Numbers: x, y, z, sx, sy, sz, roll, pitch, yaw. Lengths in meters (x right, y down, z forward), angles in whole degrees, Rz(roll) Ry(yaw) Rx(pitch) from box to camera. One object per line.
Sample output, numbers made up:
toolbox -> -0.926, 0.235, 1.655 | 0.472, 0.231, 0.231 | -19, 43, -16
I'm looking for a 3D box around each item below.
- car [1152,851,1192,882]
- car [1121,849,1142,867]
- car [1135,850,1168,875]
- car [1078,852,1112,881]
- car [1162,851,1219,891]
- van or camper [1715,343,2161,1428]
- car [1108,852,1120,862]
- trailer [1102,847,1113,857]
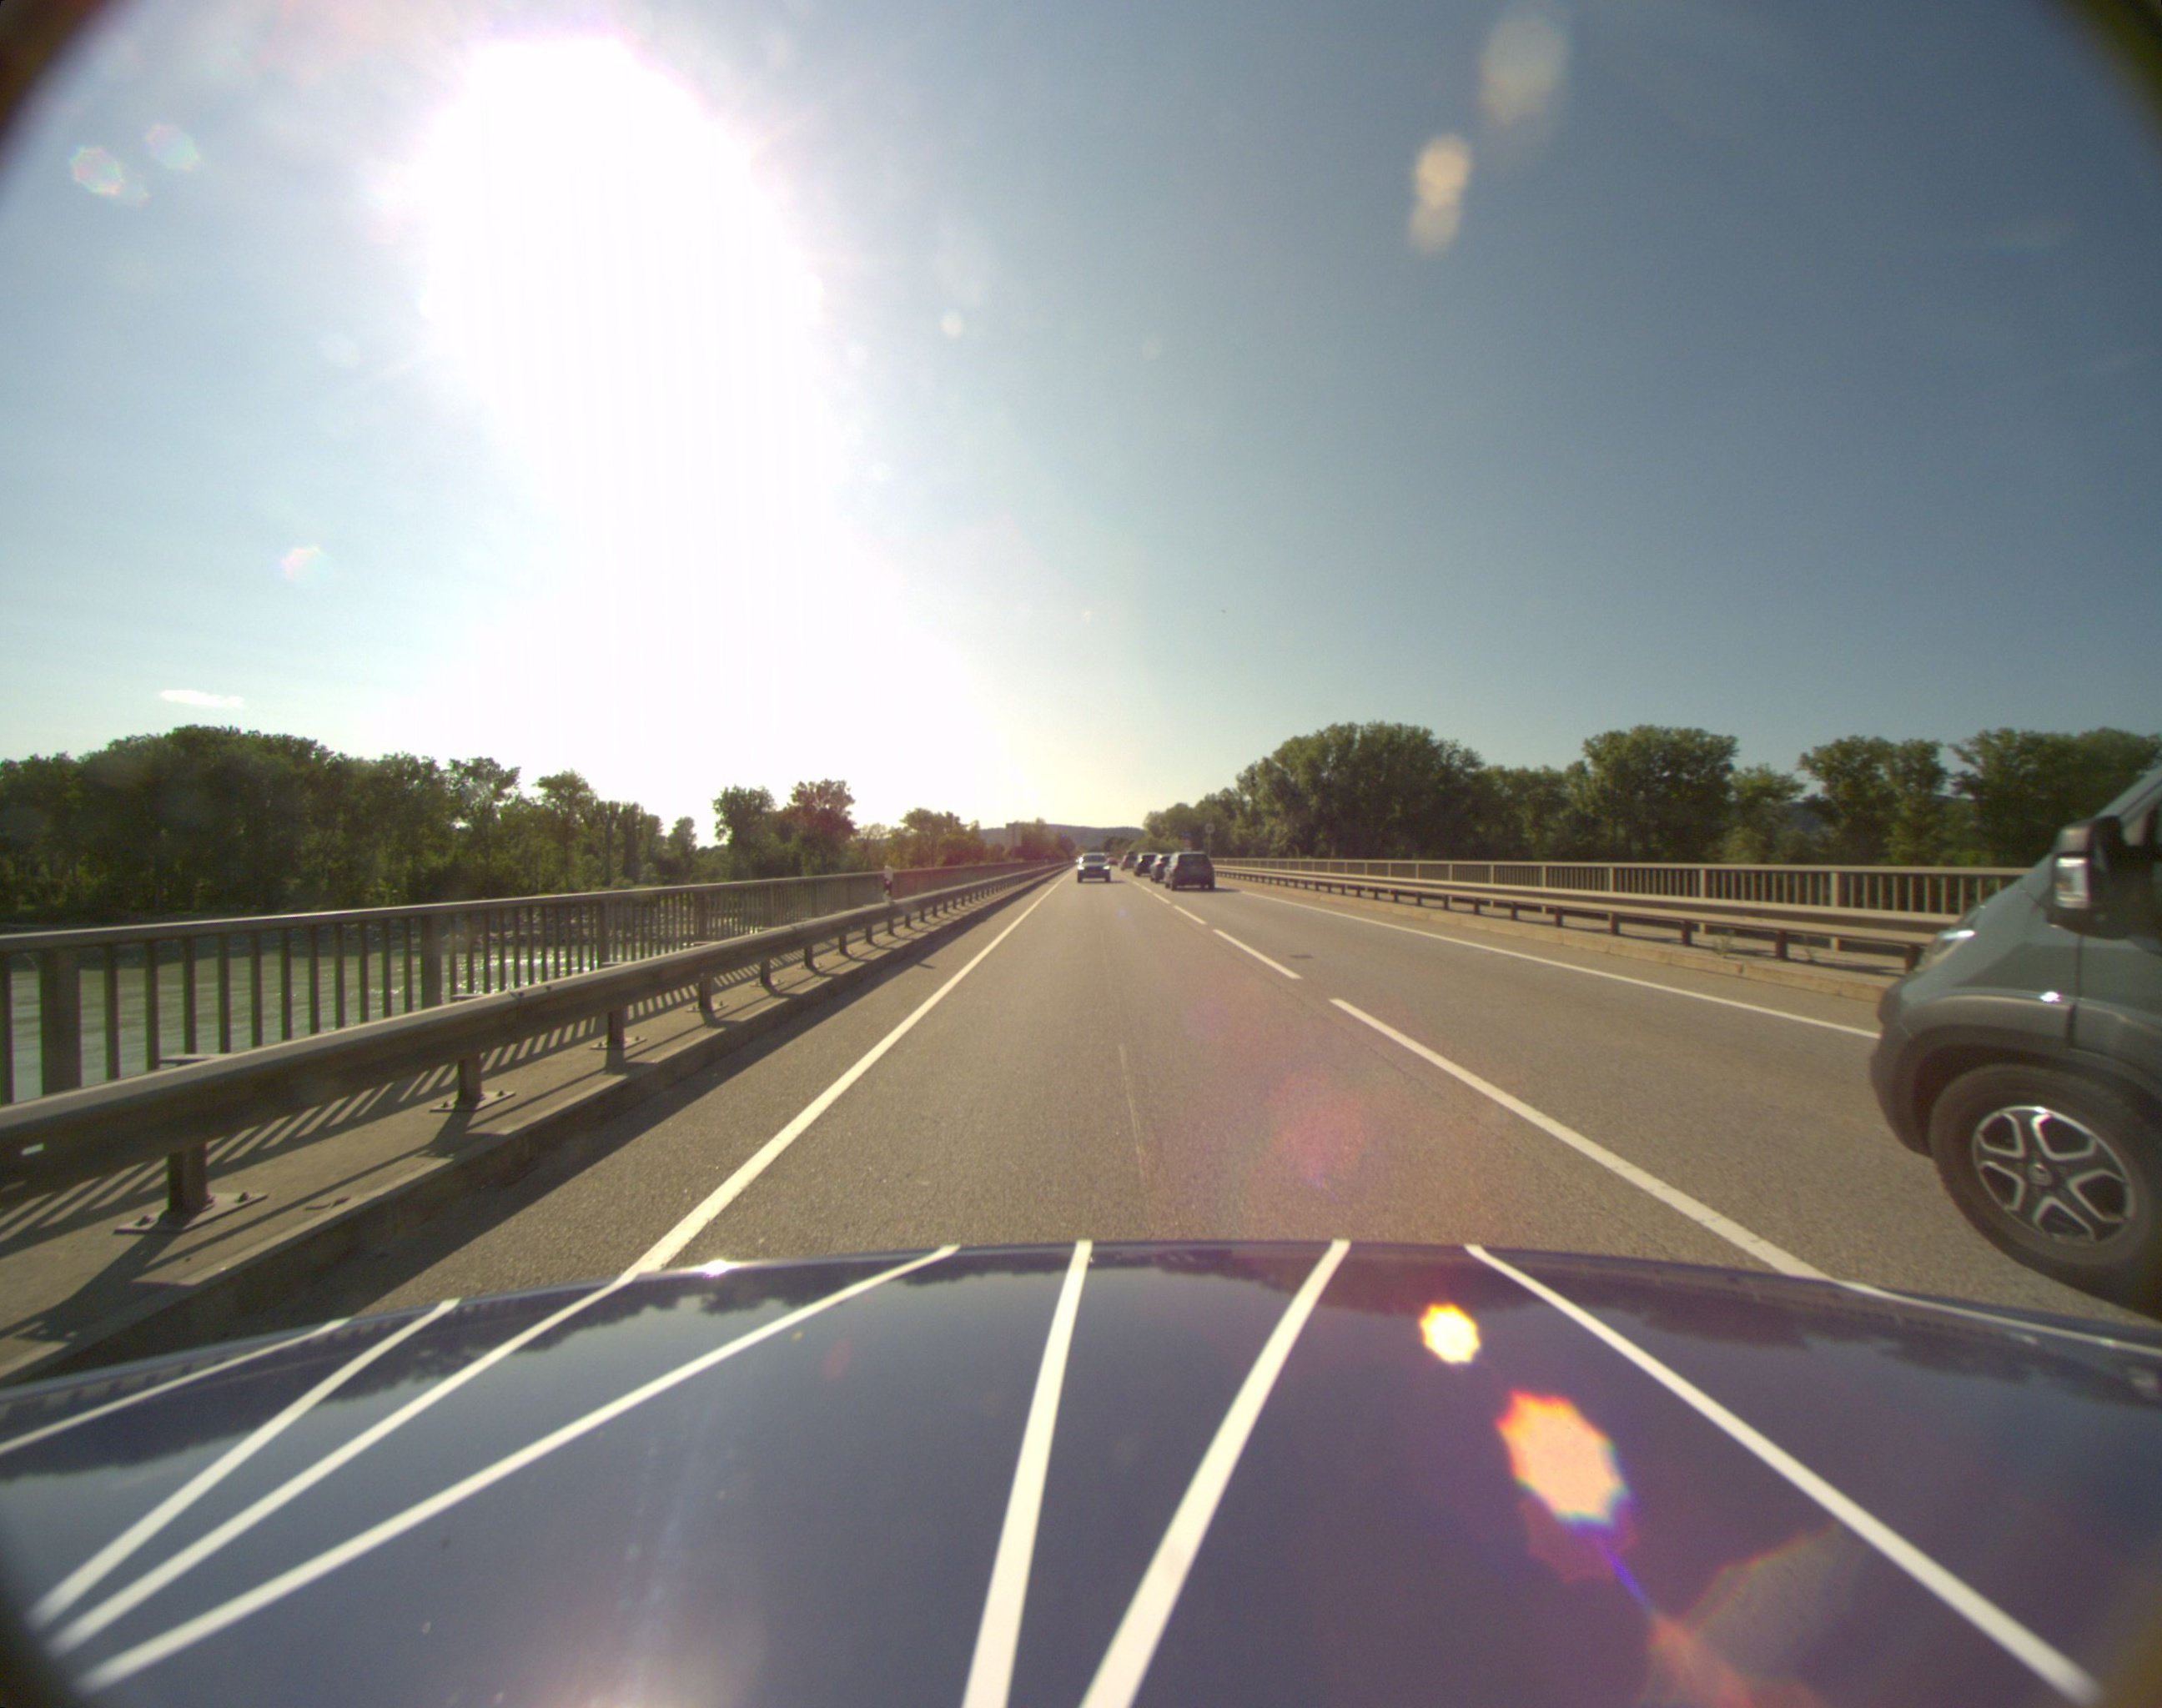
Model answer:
car -> 4.984, 0.654, 42.071 | 1.810, 1.568, 4.201 | -2, 0, 2
car -> 5.242, 0.412, 79.405 | 1.859, 1.712, 4.566 | -2, 0, 1
car -> 5.125, 0.605, 55.775 | 2.058, 1.643, 4.721 | -3, 0, 2
car -> 0.847, 0.712, 45.514 | 1.871, 1.598, 4.380 | -2, 0, 1
car -> 4.686, 0.697, 33.058 | 1.879, 1.574, 4.274 | -1, 0, 1
van or camper -> 4.152, 0.083, 0.190 | 2.321, 3.033, 6.817 | -2, 0, 1
car -> 5.345, 0.495, 123.865 | 1.770, 1.439, 4.456 | -2, 0, 0
trailer -> 7.383, -0.485, 210.807 | 2.561, 2.721, 8.062 | -2, 0, 0
